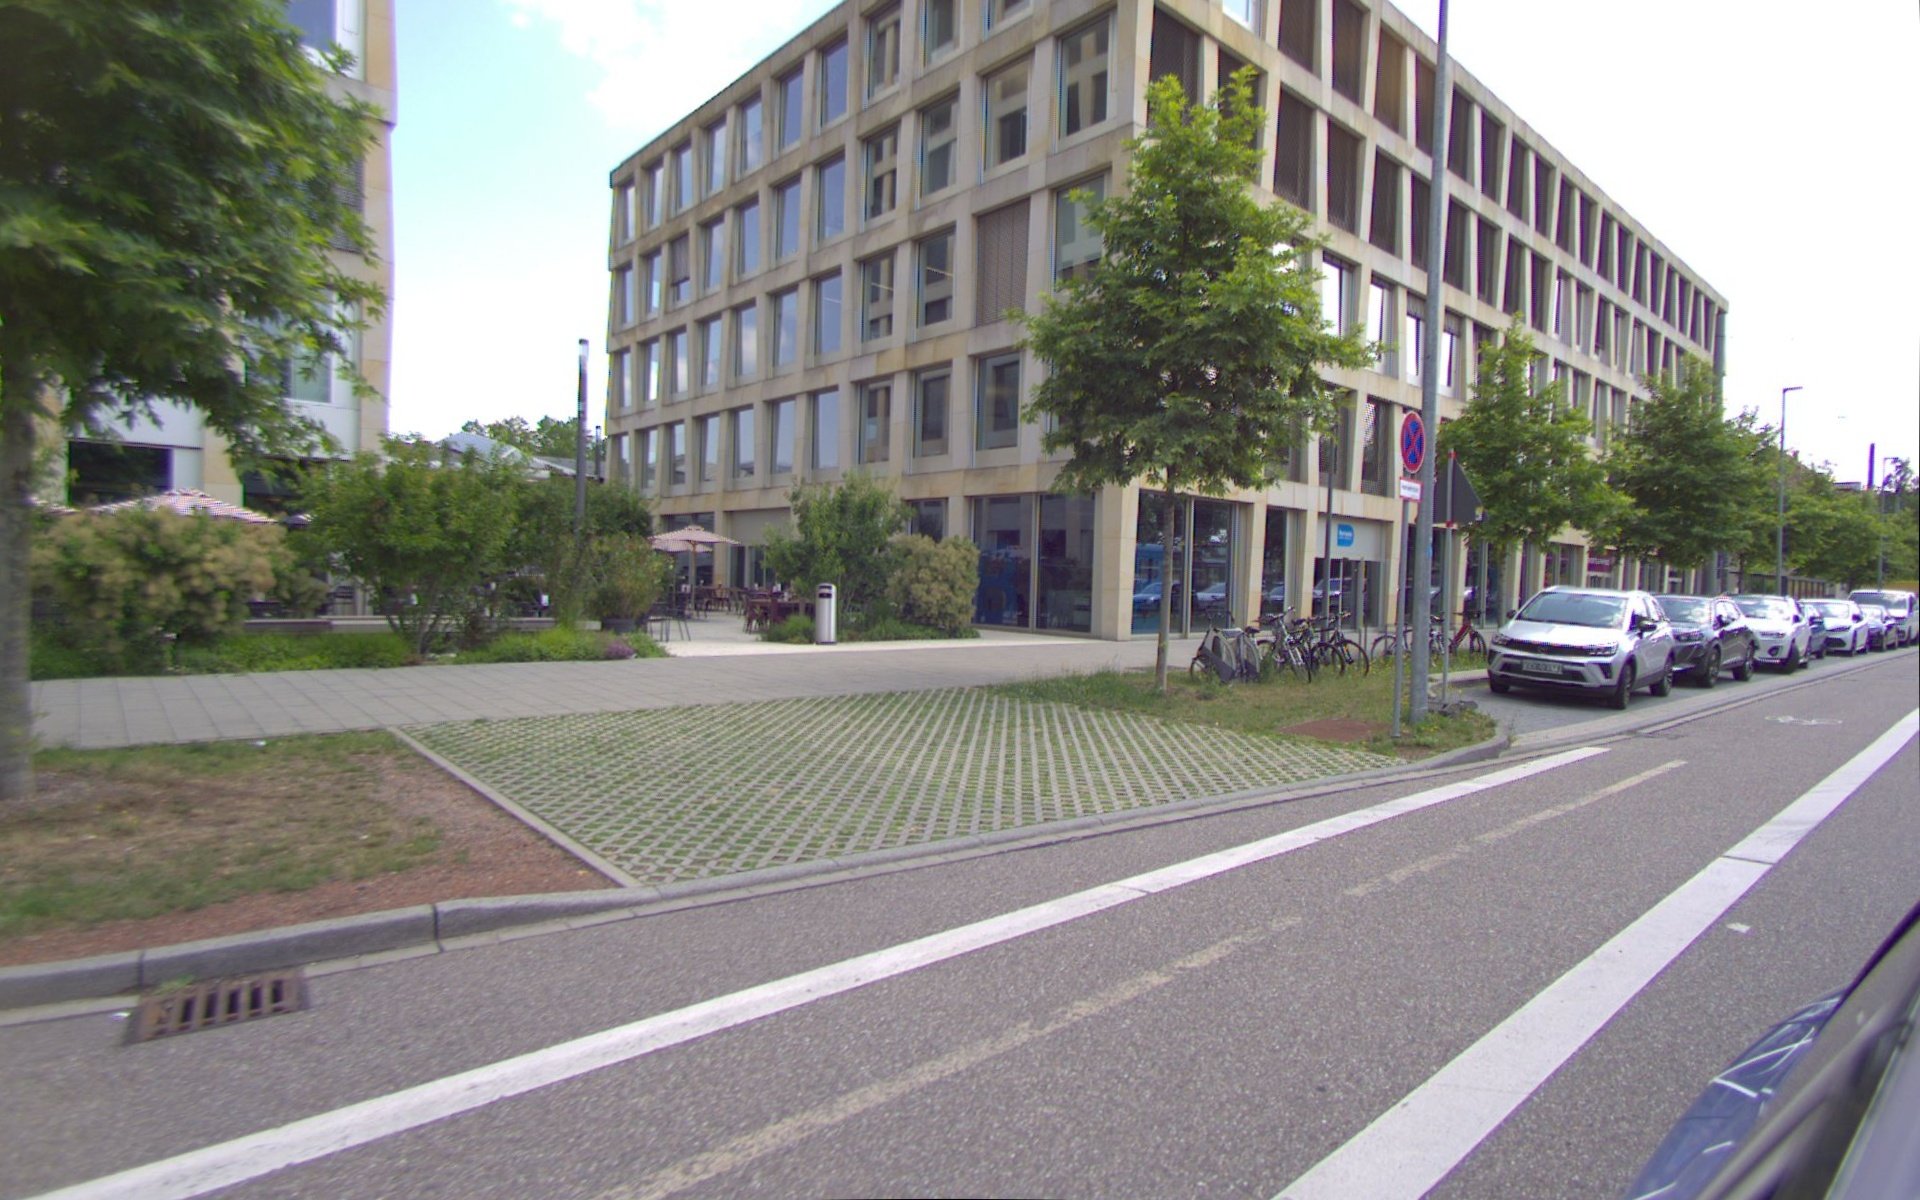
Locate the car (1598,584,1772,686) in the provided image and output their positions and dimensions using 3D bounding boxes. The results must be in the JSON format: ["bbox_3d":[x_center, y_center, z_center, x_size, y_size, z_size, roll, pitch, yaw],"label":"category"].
[{"bbox_3d":[13.170,0.561,18.310,3.858,1.567,1.689,0,3,-42],"label":"car"}]

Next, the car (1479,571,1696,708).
[{"bbox_3d":[9.294,0.484,14.870,3.923,1.653,1.688,0,4,-44],"label":"car"}]

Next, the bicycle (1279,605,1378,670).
[{"bbox_3d":[6.033,0.595,16.645,0.496,0.928,1.500,-3,4,-38],"label":"bicycle"}]

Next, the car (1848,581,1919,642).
[{"bbox_3d":[33.301,0.376,36.024,4.759,1.963,1.885,0,3,-42],"label":"car"}]

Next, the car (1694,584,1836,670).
[{"bbox_3d":[17.622,0.531,22.092,4.080,1.625,1.689,0,3,-42],"label":"car"}]

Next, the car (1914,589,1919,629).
[{"bbox_3d":[44.965,0.445,46.072,4.756,1.789,1.772,0,2,-42],"label":"car"}]

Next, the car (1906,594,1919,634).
[{"bbox_3d":[41.581,0.606,42.942,3.793,1.640,1.724,0,2,-42],"label":"car"}]

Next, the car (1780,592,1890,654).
[{"bbox_3d":[25.164,0.606,29.059,4.086,1.548,1.796,0,3,-42],"label":"car"}]

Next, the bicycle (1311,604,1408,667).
[{"bbox_3d":[6.765,0.582,17.197,0.496,0.928,1.500,-3,4,-38],"label":"bicycle"}]

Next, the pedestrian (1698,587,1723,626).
[{"bbox_3d":[31.638,0.268,42.666,0.889,1.570,0.638,1,1,-41],"label":"pedestrian"}]

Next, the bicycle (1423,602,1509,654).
[{"bbox_3d":[10.252,0.554,20.553,0.496,0.928,1.500,-3,4,-38],"label":"bicycle"}]

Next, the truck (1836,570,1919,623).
[{"bbox_3d":[54.904,-0.168,57.991,2.413,2.902,6.815,0,2,-43],"label":"truck"}]

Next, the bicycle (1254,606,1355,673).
[{"bbox_3d":[5.443,0.600,16.070,0.496,0.928,1.500,-3,4,-38],"label":"bicycle"}]

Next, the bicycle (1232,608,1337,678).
[{"bbox_3d":[4.933,0.630,15.459,0.496,0.928,1.500,-3,4,-38],"label":"bicycle"}]

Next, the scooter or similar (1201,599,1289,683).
[{"bbox_3d":[4.286,0.592,15.258,0.706,1.190,1.054,0,1,-37],"label":"scooter or similar"}]

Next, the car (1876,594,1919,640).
[{"bbox_3d":[36.998,0.648,39.176,4.449,1.660,1.724,0,3,-42],"label":"car"}]

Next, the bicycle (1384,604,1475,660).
[{"bbox_3d":[8.873,0.586,19.184,0.496,0.928,1.500,-3,4,-38],"label":"bicycle"}]

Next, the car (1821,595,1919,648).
[{"bbox_3d":[29.305,0.636,32.484,4.484,1.505,1.885,0,3,-42],"label":"car"}]

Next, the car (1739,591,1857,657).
[{"bbox_3d":[21.538,0.572,25.964,3.882,1.475,1.689,0,3,-42],"label":"car"}]

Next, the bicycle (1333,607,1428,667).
[{"bbox_3d":[7.427,0.639,17.913,0.496,0.928,1.500,-3,4,-38],"label":"bicycle"}]
